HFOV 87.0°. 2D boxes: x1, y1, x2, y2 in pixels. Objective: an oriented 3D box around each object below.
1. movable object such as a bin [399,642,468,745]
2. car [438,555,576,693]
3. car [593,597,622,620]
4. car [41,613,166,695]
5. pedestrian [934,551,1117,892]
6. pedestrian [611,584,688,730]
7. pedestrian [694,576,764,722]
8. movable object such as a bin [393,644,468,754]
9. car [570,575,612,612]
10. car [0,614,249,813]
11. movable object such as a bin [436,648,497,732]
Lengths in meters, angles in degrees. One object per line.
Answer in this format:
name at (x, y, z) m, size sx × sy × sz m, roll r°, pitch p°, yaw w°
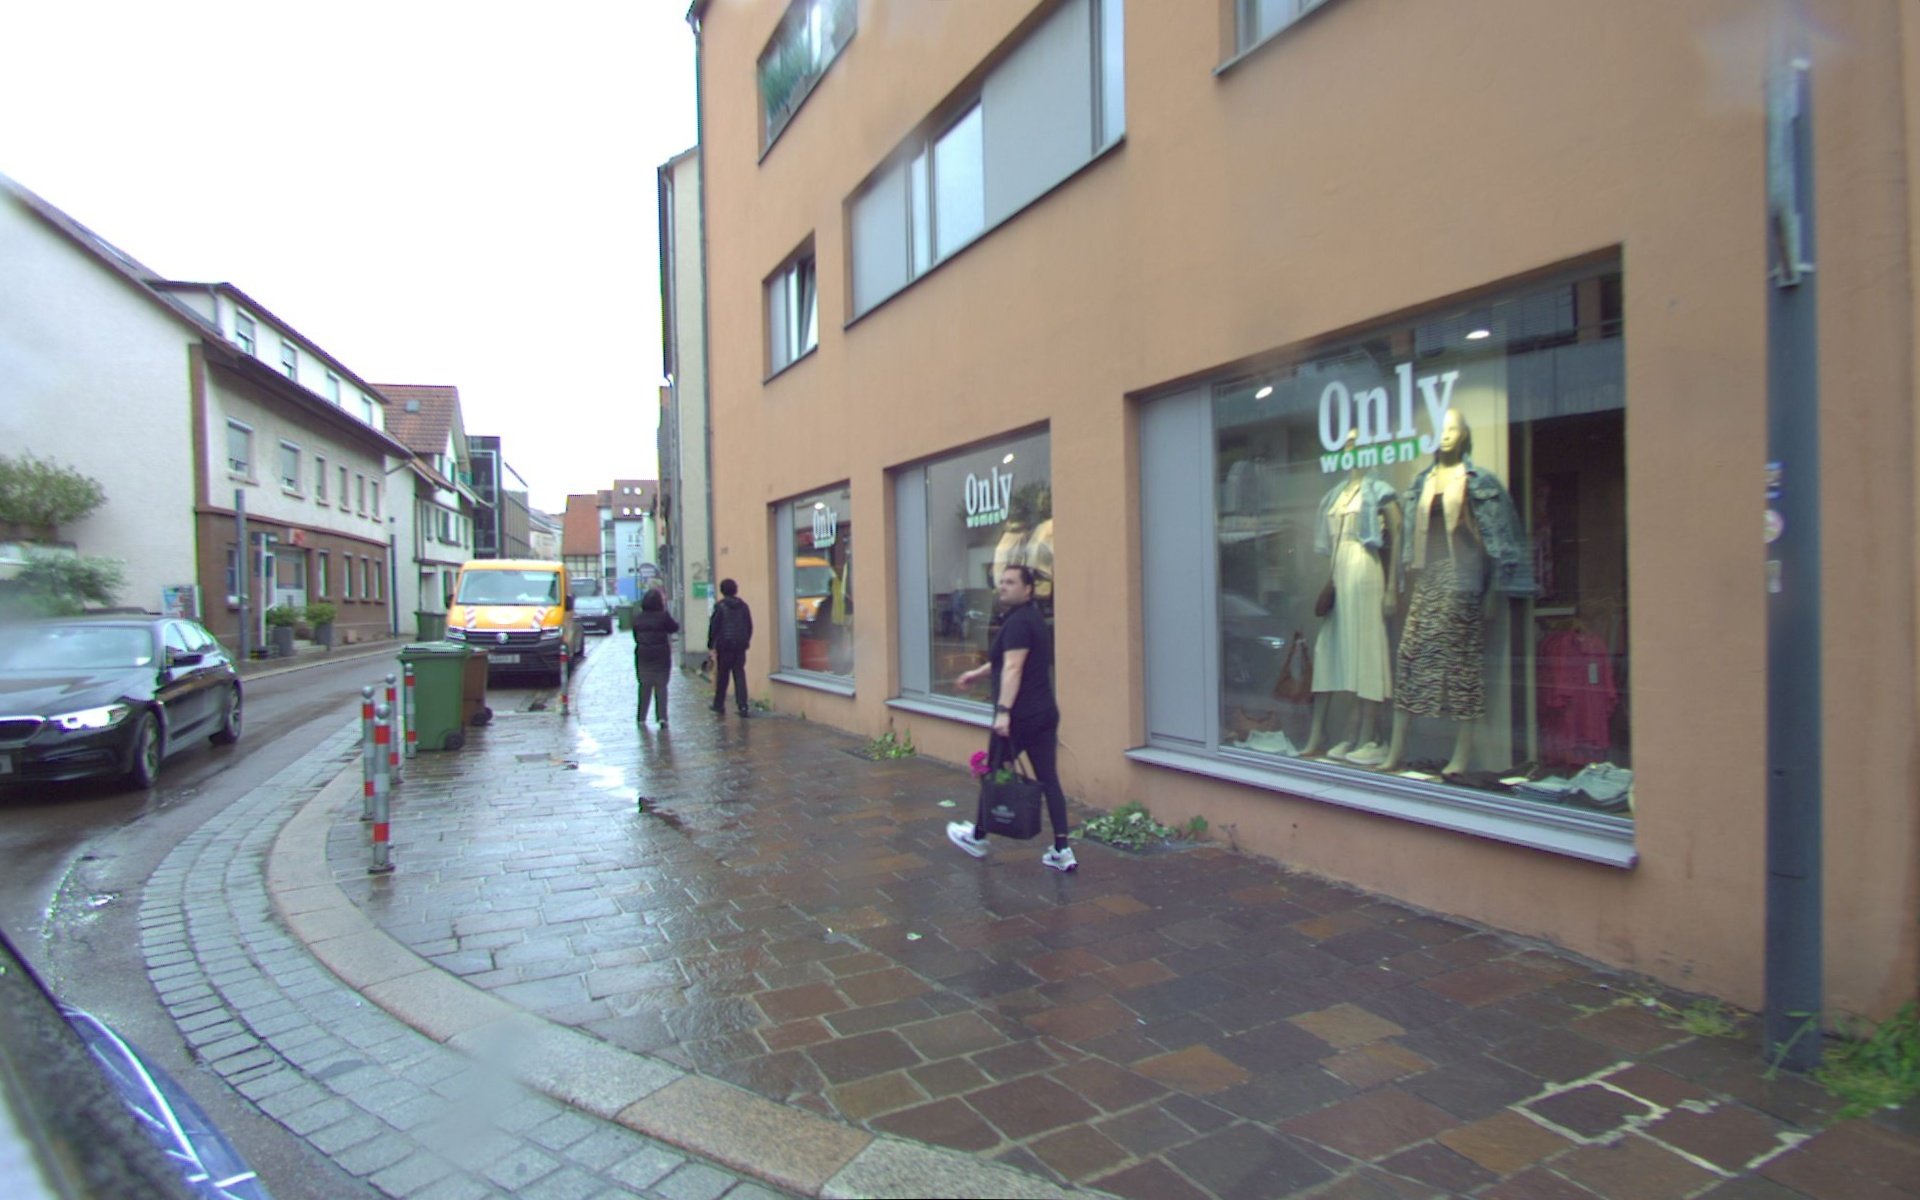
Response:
movable object such as a bin at (-5.810, 1.013, 11.184) m, size 0.647 × 1.044 × 0.612 m, roll -1°, pitch 0°, yaw -27°
car at (-8.637, 0.382, 19.755) m, size 1.965 × 2.256 × 5.880 m, roll -1°, pitch 0°, yaw -19°
car at (-23.012, 0.556, 66.110) m, size 1.605 × 1.377 × 3.499 m, roll -2°, pitch 0°, yaw -17°
car at (-16.638, 0.970, 19.711) m, size 1.712 × 1.367 × 3.943 m, roll -1°, pitch 0°, yaw -40°
pedestrian at (0.326, 0.574, 5.271) m, size 0.650 × 1.622 × 0.686 m, roll -1°, pitch 0°, yaw -28°
pedestrian at (-3.719, 0.655, 12.101) m, size 0.705 × 1.652 × 0.748 m, roll -3°, pitch 1°, yaw -25°
pedestrian at (-2.886, 0.587, 12.590) m, size 0.614 × 1.725 × 0.811 m, roll -3°, pitch 1°, yaw -25°
movable object such as a bin at (-5.459, 1.002, 10.456) m, size 0.647 × 1.044 × 0.612 m, roll -1°, pitch 0°, yaw -27°
car at (-31.044, -0.471, 85.456) m, size 2.666 × 2.895 × 8.870 m, roll -2°, pitch 0°, yaw -16°
car at (-8.299, 0.884, 9.400) m, size 1.915 × 1.413 × 4.434 m, roll -1°, pitch 0°, yaw -24°
movable object such as a bin at (-5.995, 1.081, 12.314) m, size 0.573 × 0.934 × 0.483 m, roll -3°, pitch 1°, yaw -17°
